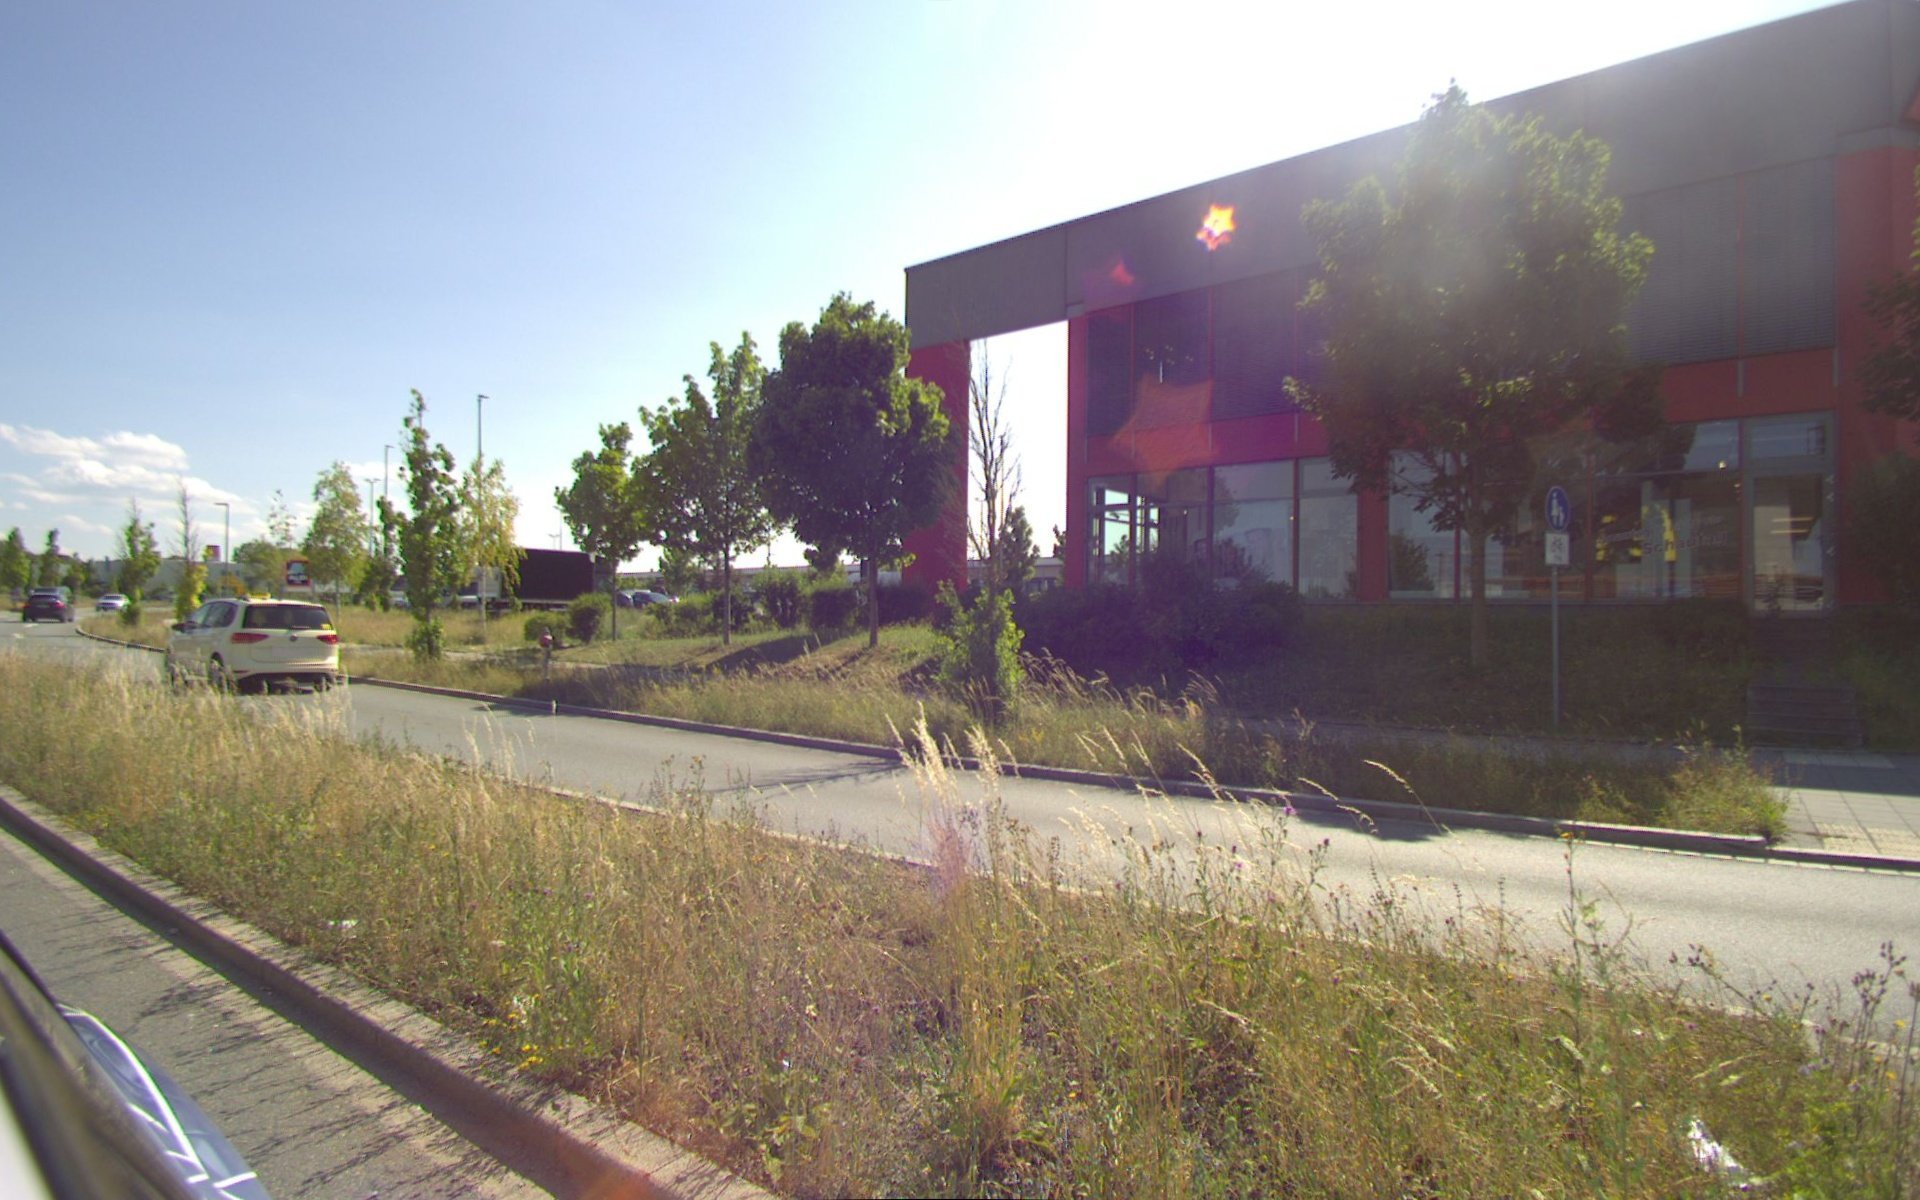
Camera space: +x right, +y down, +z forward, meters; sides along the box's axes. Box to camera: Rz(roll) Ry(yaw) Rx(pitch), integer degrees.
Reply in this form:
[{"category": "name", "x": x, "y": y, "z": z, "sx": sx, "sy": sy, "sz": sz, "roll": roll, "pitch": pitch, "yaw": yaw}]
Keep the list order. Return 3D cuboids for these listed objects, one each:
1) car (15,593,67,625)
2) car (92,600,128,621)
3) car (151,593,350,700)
[{"category": "car", "x": -49.398, "y": 0.505, "z": 54.422, "sx": 1.969, "sy": 1.630, "sz": 4.005, "roll": 2, "pitch": -2, "yaw": -42}, {"category": "car", "x": -71.094, "y": 0.913, "z": 84.707, "sx": 1.967, "sy": 1.697, "sz": 4.009, "roll": 1, "pitch": -1, "yaw": -36}, {"category": "car", "x": -12.990, "y": 0.792, "z": 18.457, "sx": 4.152, "sy": 1.728, "sz": 1.839, "roll": 0, "pitch": -2, "yaw": 39}]
